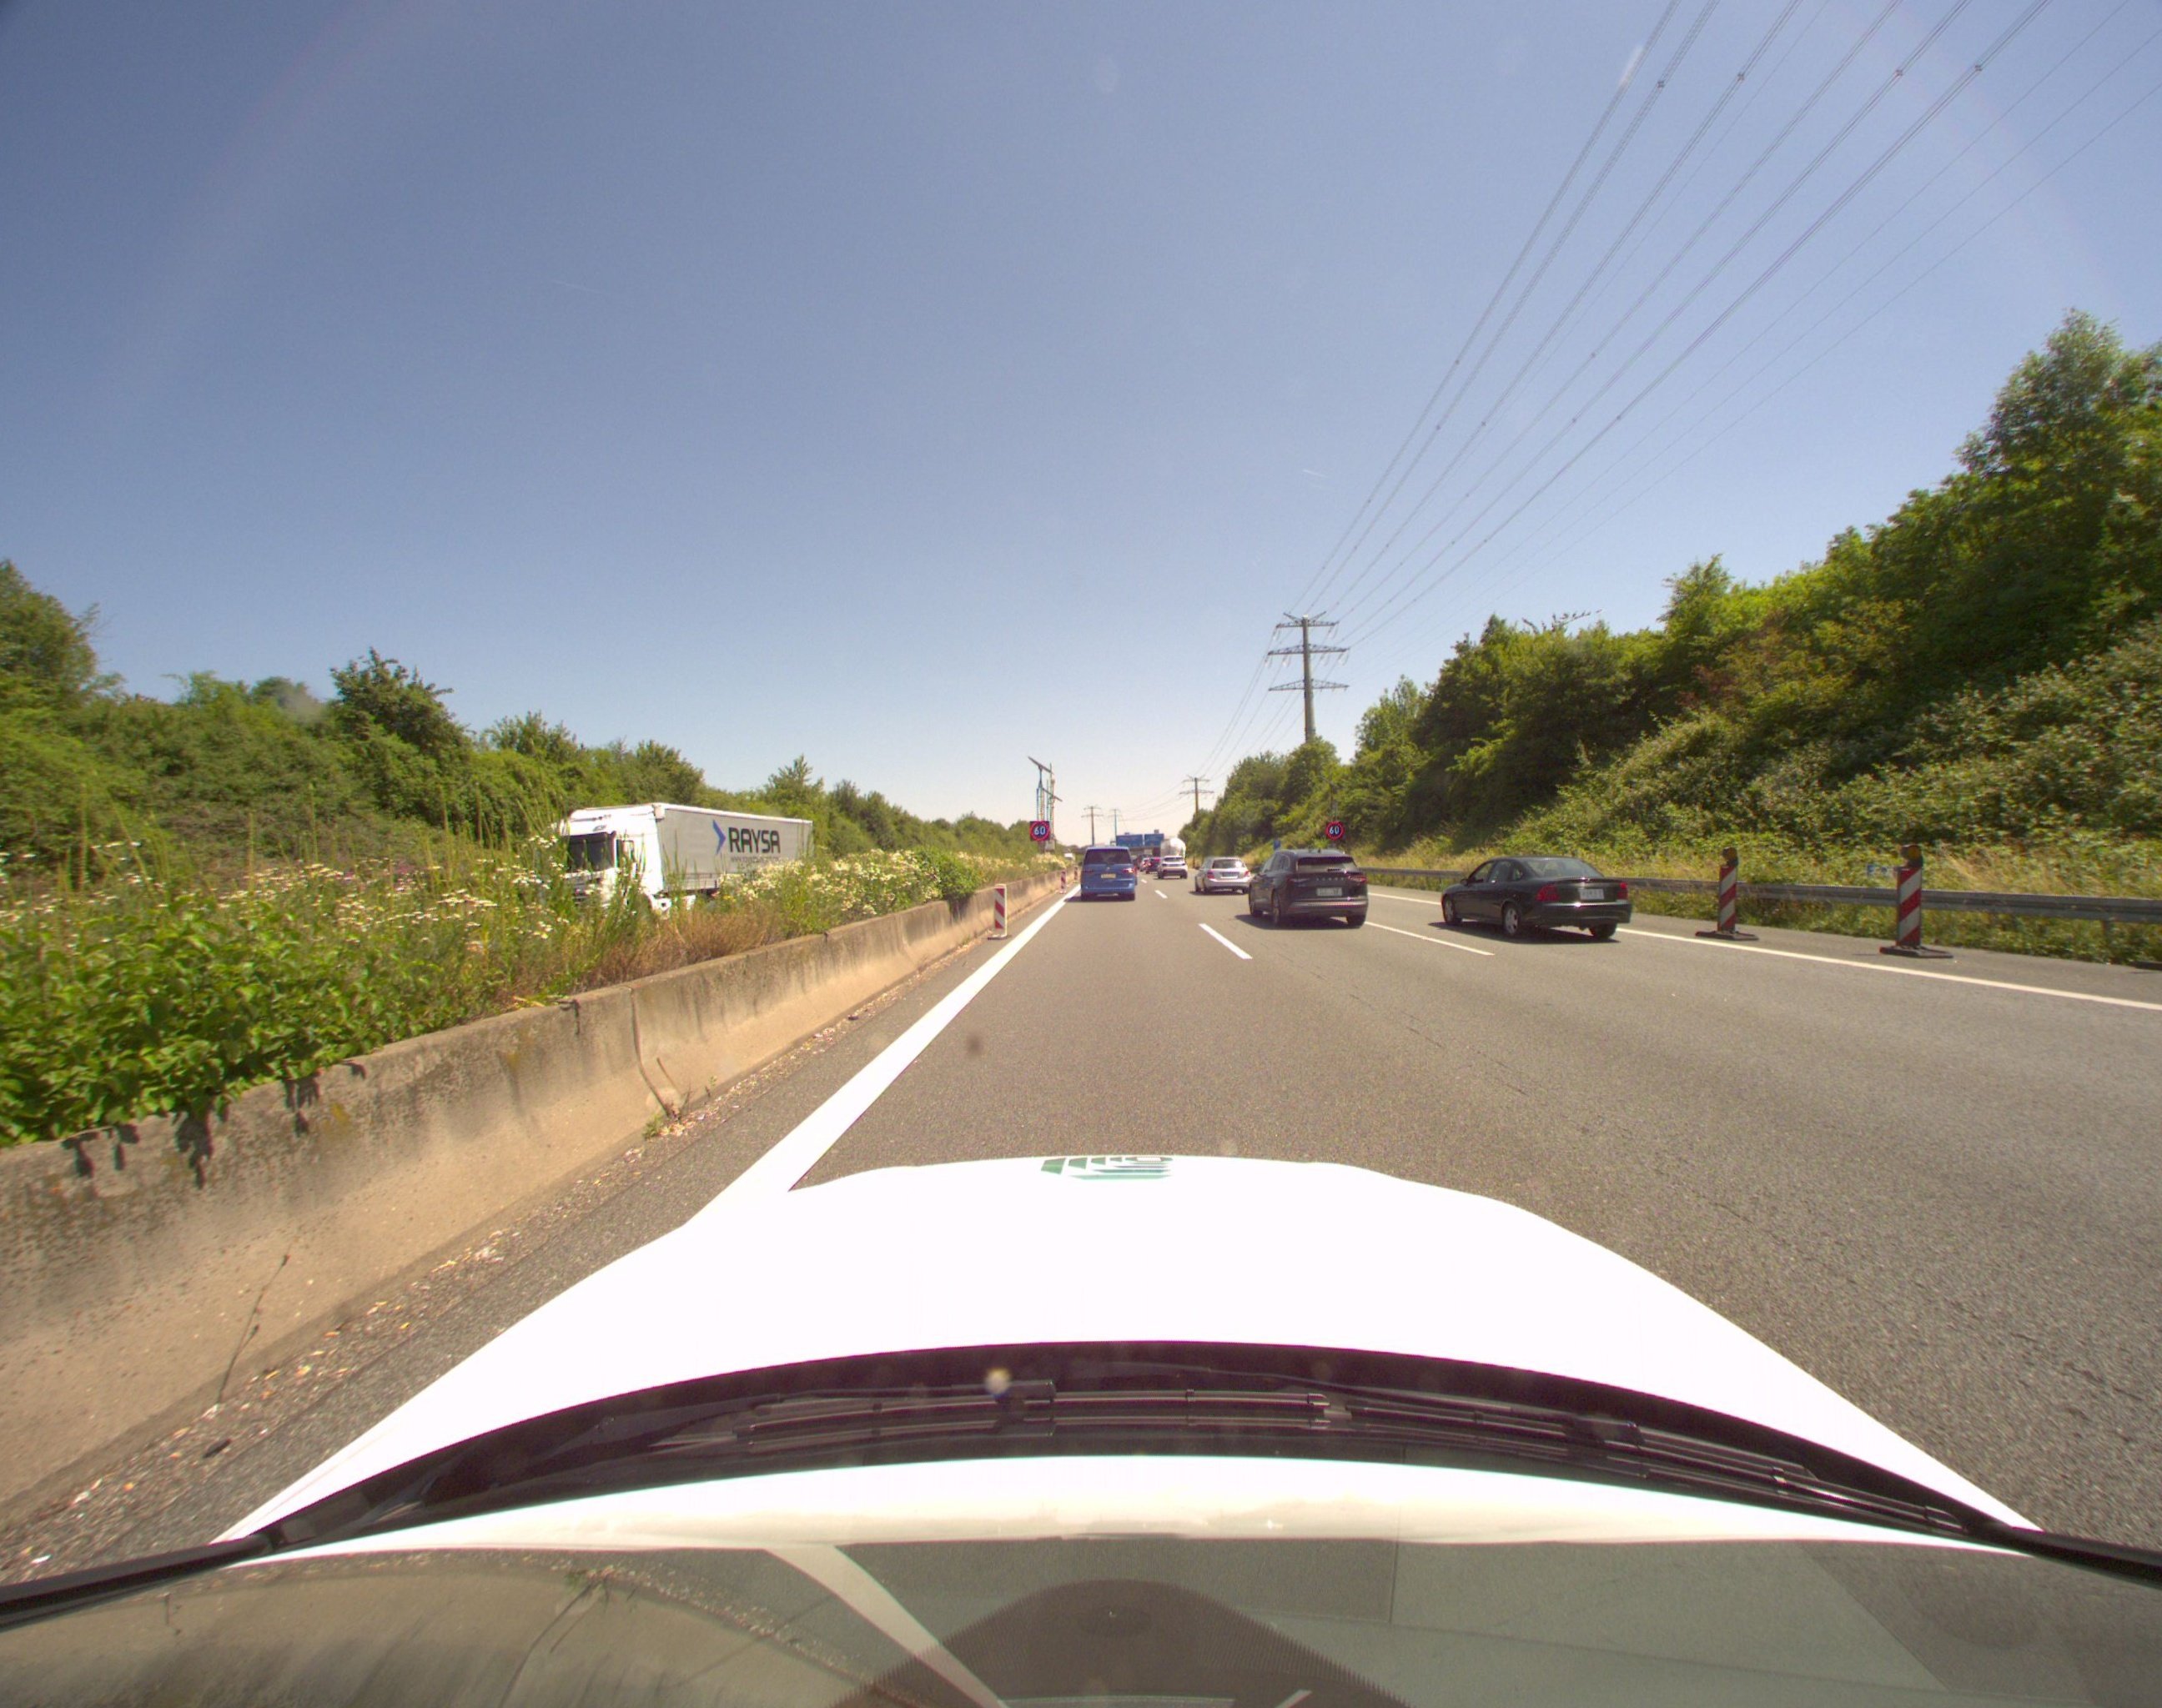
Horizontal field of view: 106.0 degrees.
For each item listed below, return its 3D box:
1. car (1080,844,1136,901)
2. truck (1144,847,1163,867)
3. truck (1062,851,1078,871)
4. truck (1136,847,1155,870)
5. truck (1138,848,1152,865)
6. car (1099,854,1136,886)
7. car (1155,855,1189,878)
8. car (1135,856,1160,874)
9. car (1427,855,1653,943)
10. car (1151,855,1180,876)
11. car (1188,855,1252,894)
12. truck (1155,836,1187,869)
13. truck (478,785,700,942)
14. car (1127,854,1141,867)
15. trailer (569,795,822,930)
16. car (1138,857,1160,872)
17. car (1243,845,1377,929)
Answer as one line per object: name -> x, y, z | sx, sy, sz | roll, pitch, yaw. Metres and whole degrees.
car -> 0.909, 0.637, 29.546 | 1.865, 1.879, 4.383 | 0, 0, 0
truck -> 13.013, 0.540, 147.121 | 2.635, 3.539, 12.554 | 0, 0, 1
truck -> -2.396, 1.520, 178.980 | 2.752, 3.888, 9.032 | -5, 0, 1
truck -> 7.847, 0.535, 100.088 | 1.986, 2.723, 5.681 | 0, 0, 1
truck -> 17.212, 0.693, 219.897 | 2.927, 4.291, 12.554 | 0, 0, 1
car -> 1.929, 0.821, 44.482 | 1.902, 1.631, 4.384 | -1, 0, 1
car -> 6.077, 0.833, 54.889 | 1.902, 1.508, 3.921 | 0, 0, 0
car -> 5.889, 0.977, 72.762 | 1.902, 1.516, 4.383 | 0, 0, 0
car -> 8.127, 0.718, 14.945 | 1.729, 1.378, 4.302 | 0, 0, 0
car -> 6.698, 0.899, 64.843 | 1.902, 1.569, 4.383 | 0, 0, 0
car -> 5.475, 0.761, 32.526 | 1.815, 1.437, 4.383 | 0, 0, 0
truck -> 11.753, -0.119, 107.679 | 2.635, 4.072, 16.443 | 0, 0, 1
truck -> -15.121, 0.277, 25.662 | 3.005, 4.166, 5.808 | -5, 0, 2
car -> 8.142, 1.041, 125.652 | 1.986, 2.014, 4.001 | 0, 0, 1
trailer -> -14.809, 0.317, 33.575 | 3.005, 4.166, 14.026 | -5, 0, 2
car -> 7.133, 1.048, 85.690 | 1.902, 1.516, 4.383 | 0, 0, 0
car -> 4.929, 0.653, 18.166 | 1.821, 1.614, 4.432 | -1, 0, 1
